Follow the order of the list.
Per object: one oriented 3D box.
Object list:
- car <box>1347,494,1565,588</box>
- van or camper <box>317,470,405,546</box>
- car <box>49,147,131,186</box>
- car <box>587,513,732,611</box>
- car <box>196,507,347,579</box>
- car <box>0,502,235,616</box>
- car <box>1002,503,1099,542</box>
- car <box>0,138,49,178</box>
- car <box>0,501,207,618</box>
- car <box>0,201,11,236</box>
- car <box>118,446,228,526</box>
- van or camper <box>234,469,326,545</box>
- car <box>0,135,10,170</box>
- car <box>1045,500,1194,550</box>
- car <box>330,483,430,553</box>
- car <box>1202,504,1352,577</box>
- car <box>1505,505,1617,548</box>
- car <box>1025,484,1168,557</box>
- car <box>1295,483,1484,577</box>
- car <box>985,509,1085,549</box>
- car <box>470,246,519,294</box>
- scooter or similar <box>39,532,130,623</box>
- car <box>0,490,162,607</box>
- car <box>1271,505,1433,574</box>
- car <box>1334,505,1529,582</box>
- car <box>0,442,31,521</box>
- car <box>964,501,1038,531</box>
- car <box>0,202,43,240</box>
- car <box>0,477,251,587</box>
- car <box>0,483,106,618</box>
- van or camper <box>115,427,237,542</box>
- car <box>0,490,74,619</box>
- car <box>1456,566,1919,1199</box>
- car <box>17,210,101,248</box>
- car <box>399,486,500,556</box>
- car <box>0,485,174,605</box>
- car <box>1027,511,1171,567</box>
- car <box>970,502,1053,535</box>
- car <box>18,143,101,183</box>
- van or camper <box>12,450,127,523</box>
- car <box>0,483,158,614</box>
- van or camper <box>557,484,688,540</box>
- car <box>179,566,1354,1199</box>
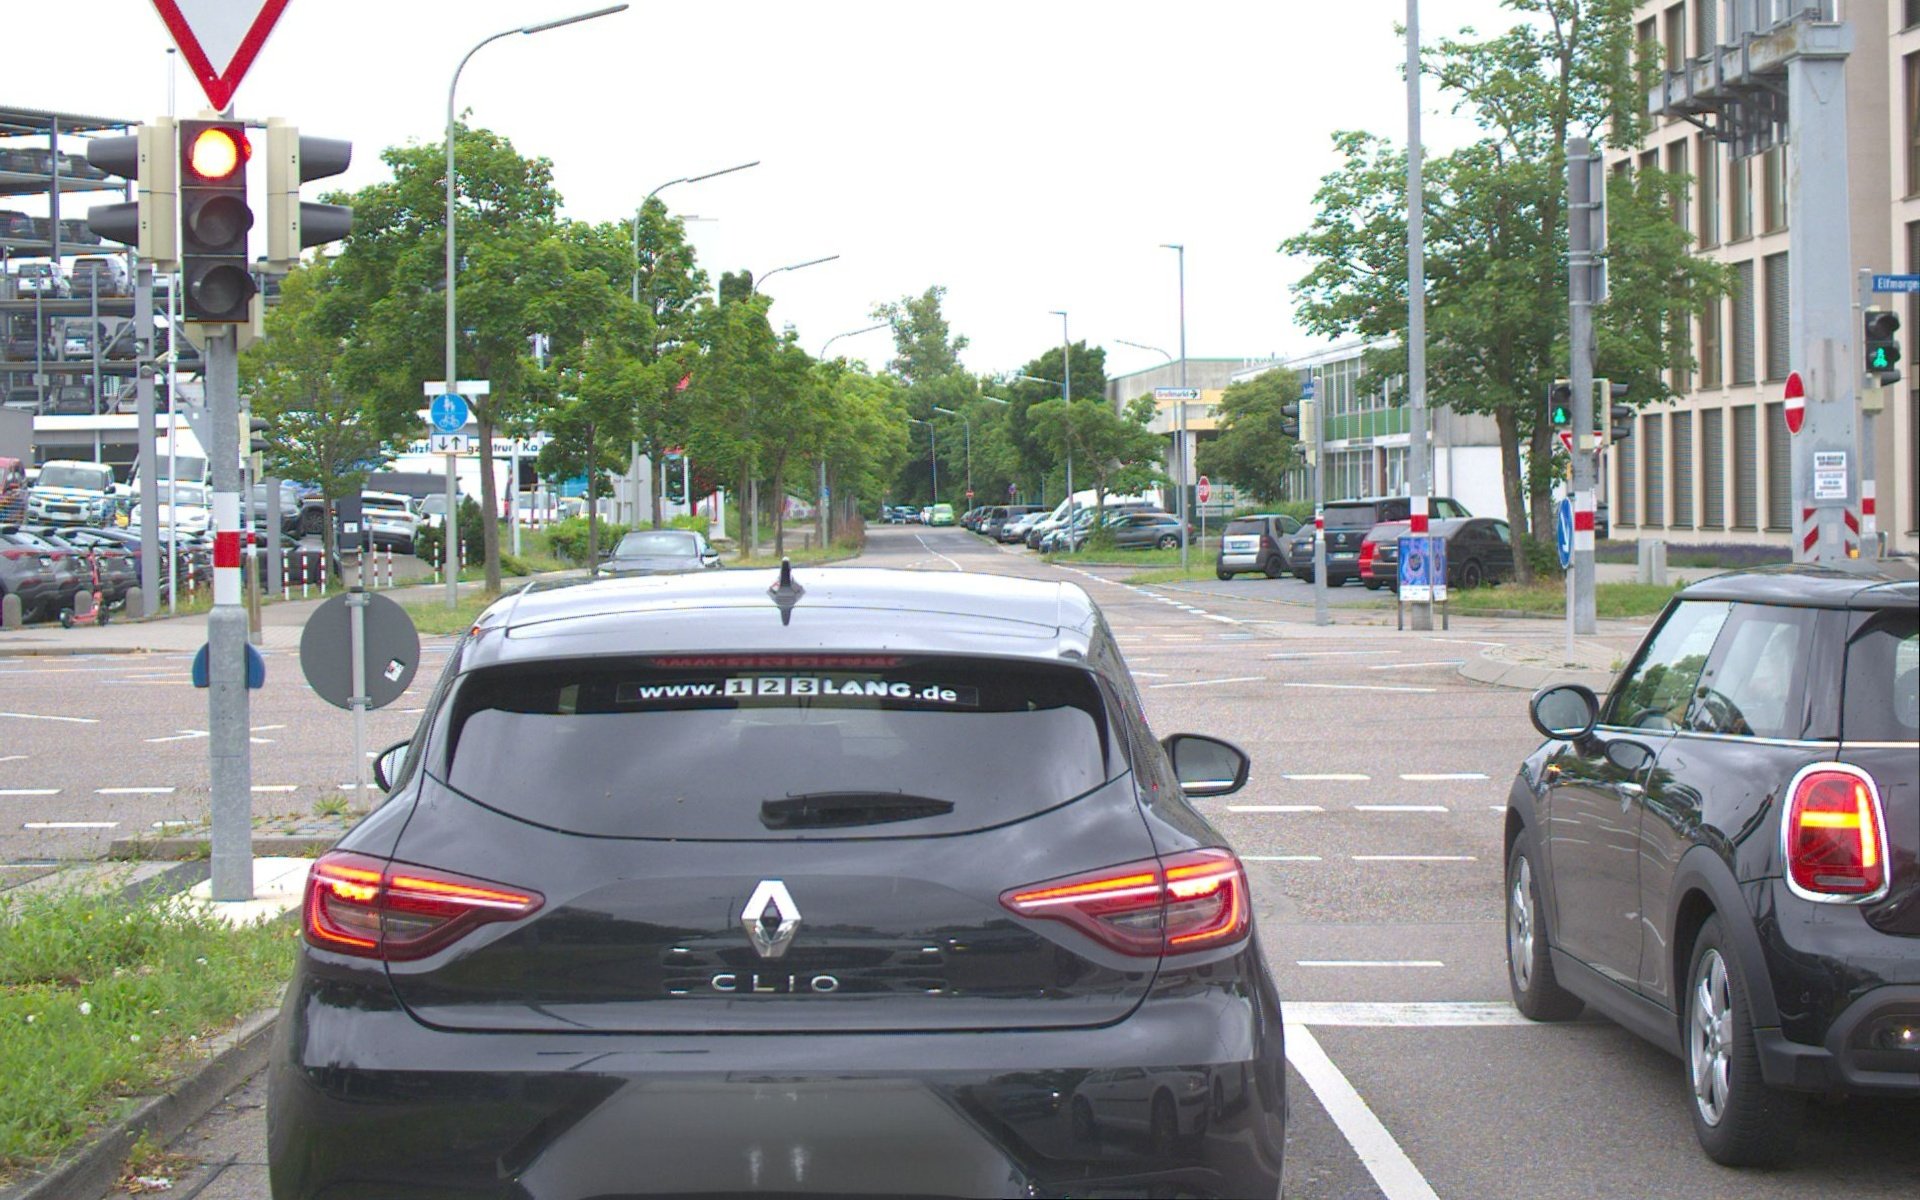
[{"bbox_3d":[9.639,-1.139,66.653,4.121,1.762,1.888,-1,1,-40],"label":"car"},{"bbox_3d":[-16.503,-2.518,94.857,1.993,2.007,4.001,1,1,-4],"label":"van or camper"},{"bbox_3d":[-45.960,-22.873,181.544,3.994,1.661,1.996,1,2,32],"label":"car"},{"bbox_3d":[-4.990,-0.670,57.678,1.978,1.546,4.614,-1,2,0],"label":"car"},{"bbox_3d":[-19.786,-1.628,98.916,3.986,2.007,2.000,1,0,-3],"label":"car"},{"bbox_3d":[-16.821,-0.791,67.215,4.892,2.007,2.000,-3,1,-5],"label":"car"},{"bbox_3d":[4.617,-3.970,175.558,4.785,1.885,2.144,1,0,-2],"label":"car"},{"bbox_3d":[-48.897,-22.645,176.249,3.994,1.661,1.996,1,2,32],"label":"car"},{"bbox_3d":[-16.790,-0.734,64.495,4.892,2.007,2.000,-3,1,-5],"label":"car"},{"bbox_3d":[-50.267,-19.301,174.166,3.994,1.661,1.996,1,2,32],"label":"car"},{"bbox_3d":[-19.073,-2.743,83.437,1.993,1.817,4.001,1,1,-4],"label":"car"},{"bbox_3d":[-18.702,-2.547,94.665,1.993,2.007,4.001,1,1,-4],"label":"van or camper"},{"bbox_3d":[-50.287,-22.647,174.139,3.994,1.661,1.996,1,2,32],"label":"car"},{"bbox_3d":[5.718,-2.685,123.725,5.173,1.714,2.144,1,0,-2],"label":"car"},{"bbox_3d":[-14.012,-1.967,83.288,1.993,1.612,4.001,1,1,-4],"label":"car"},{"bbox_3d":[7.760,-1.440,83.955,3.424,1.726,1.765,0,1,-42],"label":"car"},{"bbox_3d":[19.364,-2.362,110.849,3.229,1.328,1.486,1,1,-19],"label":"car"},{"bbox_3d":[6.012,-3.473,151.572,6.116,3.105,2.134,1,0,-1],"label":"car"},{"bbox_3d":[9.302,-1.496,74.238,1.998,1.959,4.235,0,1,41],"label":"car"},{"bbox_3d":[3.936,-3.748,182.162,5.173,2.007,2.144,1,0,-1],"label":"car"},{"bbox_3d":[-21.476,-15.215,158.675,1.993,1.876,4.001,-1,1,-5],"label":"car"},{"bbox_3d":[-12.292,-0.329,48.314,0.557,1.214,1.559,2,2,13],"label":"scooter or similar"},{"bbox_3d":[-16.415,-0.825,59.184,4.945,1.870,2.054,-3,1,-6],"label":"car"},{"bbox_3d":[8.872,-1.374,77.643,1.696,1.506,3.808,0,1,43],"label":"car"},{"bbox_3d":[9.759,-1.173,71.041,1.887,1.546,4.123,0,1,45],"label":"car"},{"bbox_3d":[-23.994,-2.873,83.548,1.993,1.842,4.001,1,1,-4],"label":"car"},{"bbox_3d":[2.737,-5.610,229.859,4.785,1.885,2.144,1,0,-2],"label":"car"},{"bbox_3d":[-49.173,-19.386,176.122,3.994,1.661,1.996,1,2,32],"label":"car"},{"bbox_3d":[-17.083,-1.373,70.039,4.892,2.007,2.000,-3,1,-5],"label":"car"},{"bbox_3d":[-15.908,-0.690,53.548,4.700,2.007,2.000,-3,1,-4],"label":"car"},{"bbox_3d":[-21.550,-3.130,94.667,2.535,3.016,4.844,1,1,-4],"label":"van or camper"},{"bbox_3d":[-15.774,-0.584,50.980,4.771,1.856,2.000,-3,1,-5],"label":"car"},{"bbox_3d":[2.512,0.626,9.245,1.786,1.411,3.643,1,1,0],"label":"car"},{"bbox_3d":[-47.039,-19.345,179.475,3.994,1.661,1.996,1,2,32],"label":"car"},{"bbox_3d":[-12.435,-1.909,83.982,1.993,1.612,4.000,1,1,-2],"label":"car"},{"bbox_3d":[-16.695,-0.939,61.675,4.772,2.007,2.000,-3,1,-6],"label":"car"},{"bbox_3d":[5.194,-2.292,128.976,5.173,2.007,2.144,1,0,-2],"label":"car"},{"bbox_3d":[3.282,-5.185,218.806,5.173,2.007,2.144,1,0,-1],"label":"car"},{"bbox_3d":[-47.057,-22.820,179.600,3.994,1.661,1.996,1,2,32],"label":"car"},{"bbox_3d":[-21.539,-2.720,83.311,1.993,1.645,4.001,1,1,-4],"label":"van or camper"},{"bbox_3d":[-15.963,-0.781,56.555,5.022,2.007,2.266,-3,1,-5],"label":"car"},{"bbox_3d":[-14.839,-3.881,151.339,5.598,2.363,2.000,1,0,-1],"label":"van or camper"},{"bbox_3d":[-0.317,0.657,7.182,1.757,1.430,4.000,1,1,-1],"label":"car"}]
